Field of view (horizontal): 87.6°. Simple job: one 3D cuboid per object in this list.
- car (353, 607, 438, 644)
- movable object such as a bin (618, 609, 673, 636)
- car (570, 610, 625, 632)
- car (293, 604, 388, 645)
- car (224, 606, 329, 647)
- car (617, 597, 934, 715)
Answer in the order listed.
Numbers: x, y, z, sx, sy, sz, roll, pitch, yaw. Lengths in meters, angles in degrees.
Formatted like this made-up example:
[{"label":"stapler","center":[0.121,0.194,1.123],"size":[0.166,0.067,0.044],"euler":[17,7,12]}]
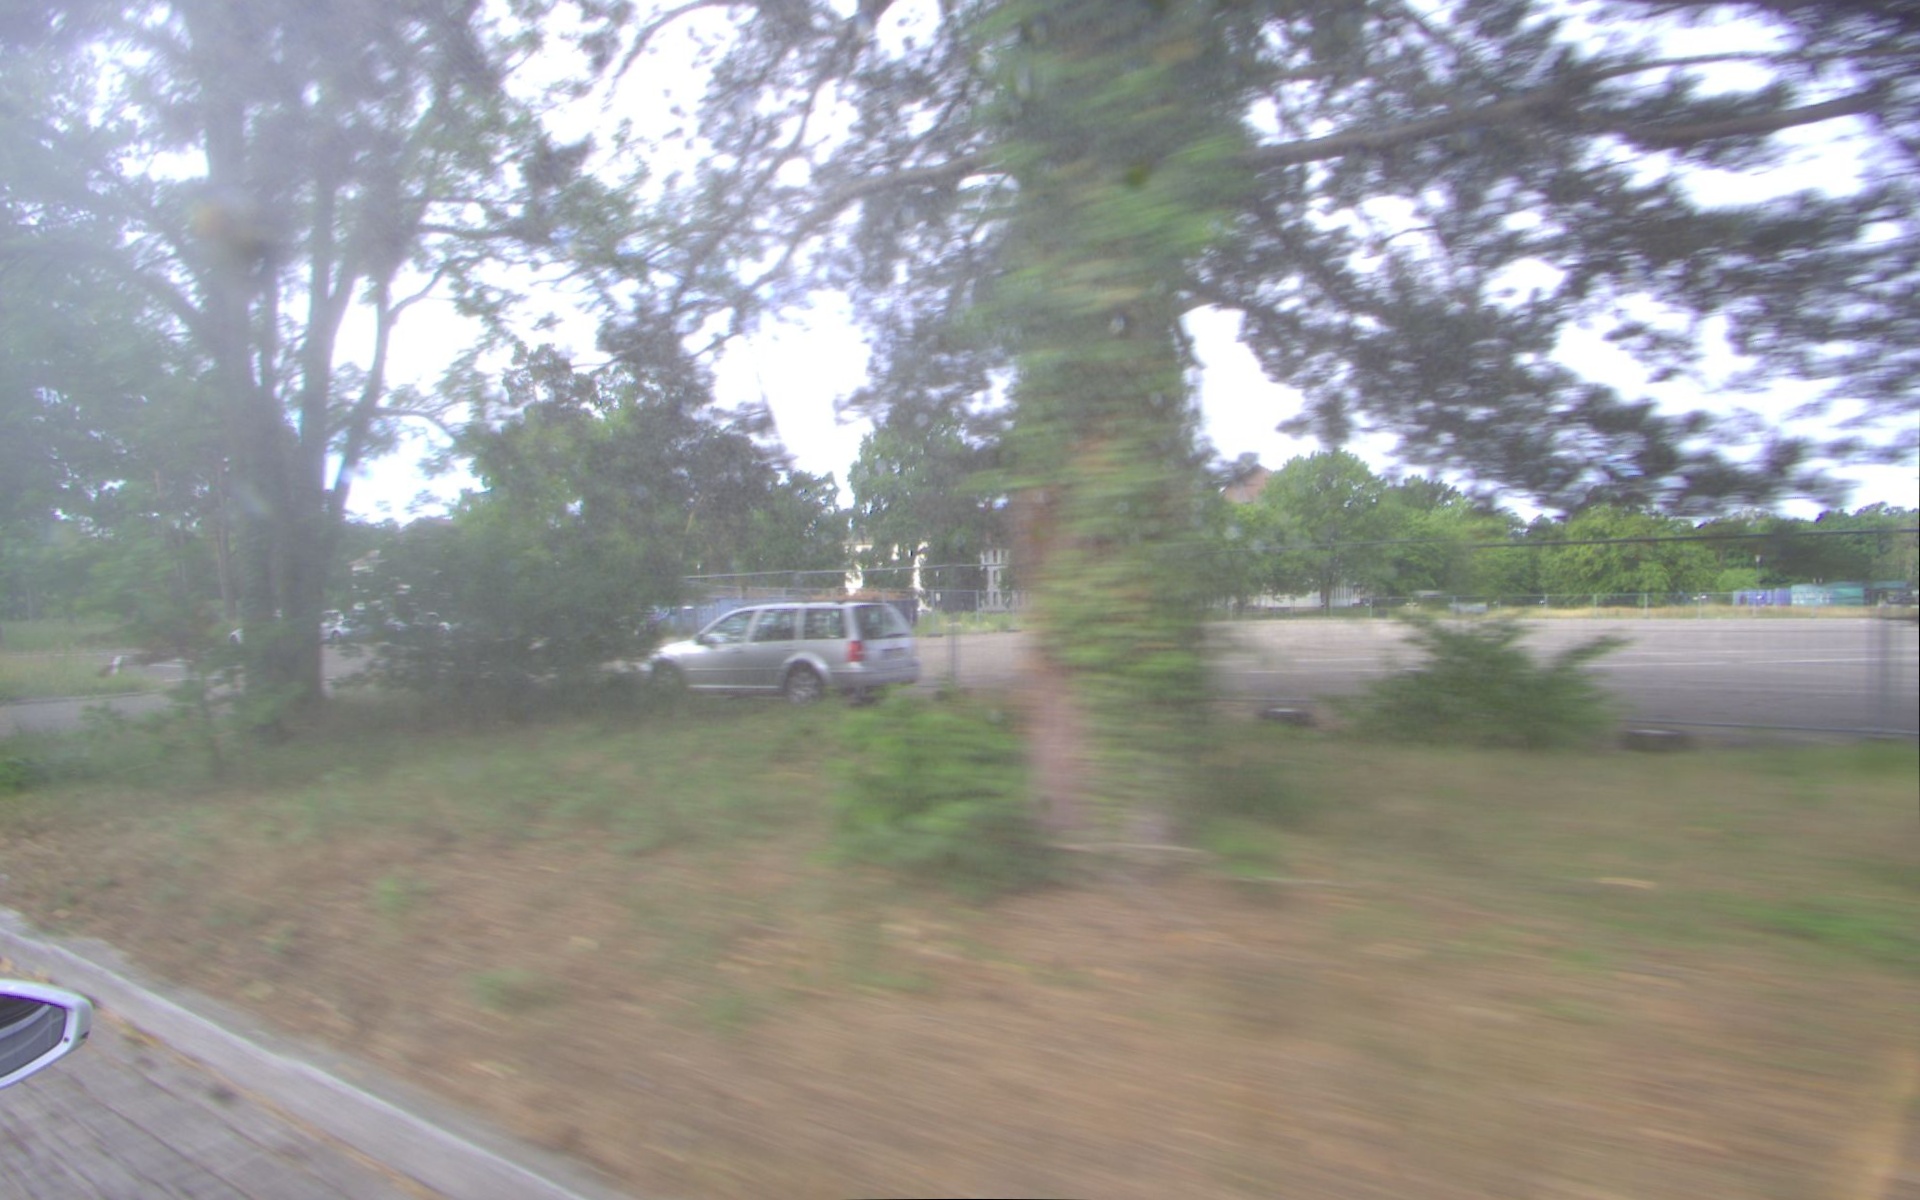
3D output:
[{"label":"car","center":[-26.562,1.209,47.093],"size":[4.186,1.504,1.697],"euler":[-4,-2,33]},{"label":"movable object such as a bin","center":[-13.746,0.977,43.753],"size":[2.176,1.149,0.960],"euler":[-1,-1,23]},{"label":"car","center":[-25.436,1.467,70.190],"size":[4.189,1.521,1.611],"euler":[0,0,37]},{"label":"car","center":[-27.665,1.110,44.684],"size":[4.180,1.626,1.780],"euler":[-4,-1,29]},{"label":"car","center":[-28.929,1.162,42.360],"size":[4.541,1.505,1.847],"euler":[-4,-3,29]},{"label":"car","center":[-2.698,0.737,14.311],"size":[4.421,1.469,1.672],"euler":[-1,-1,29]}]
